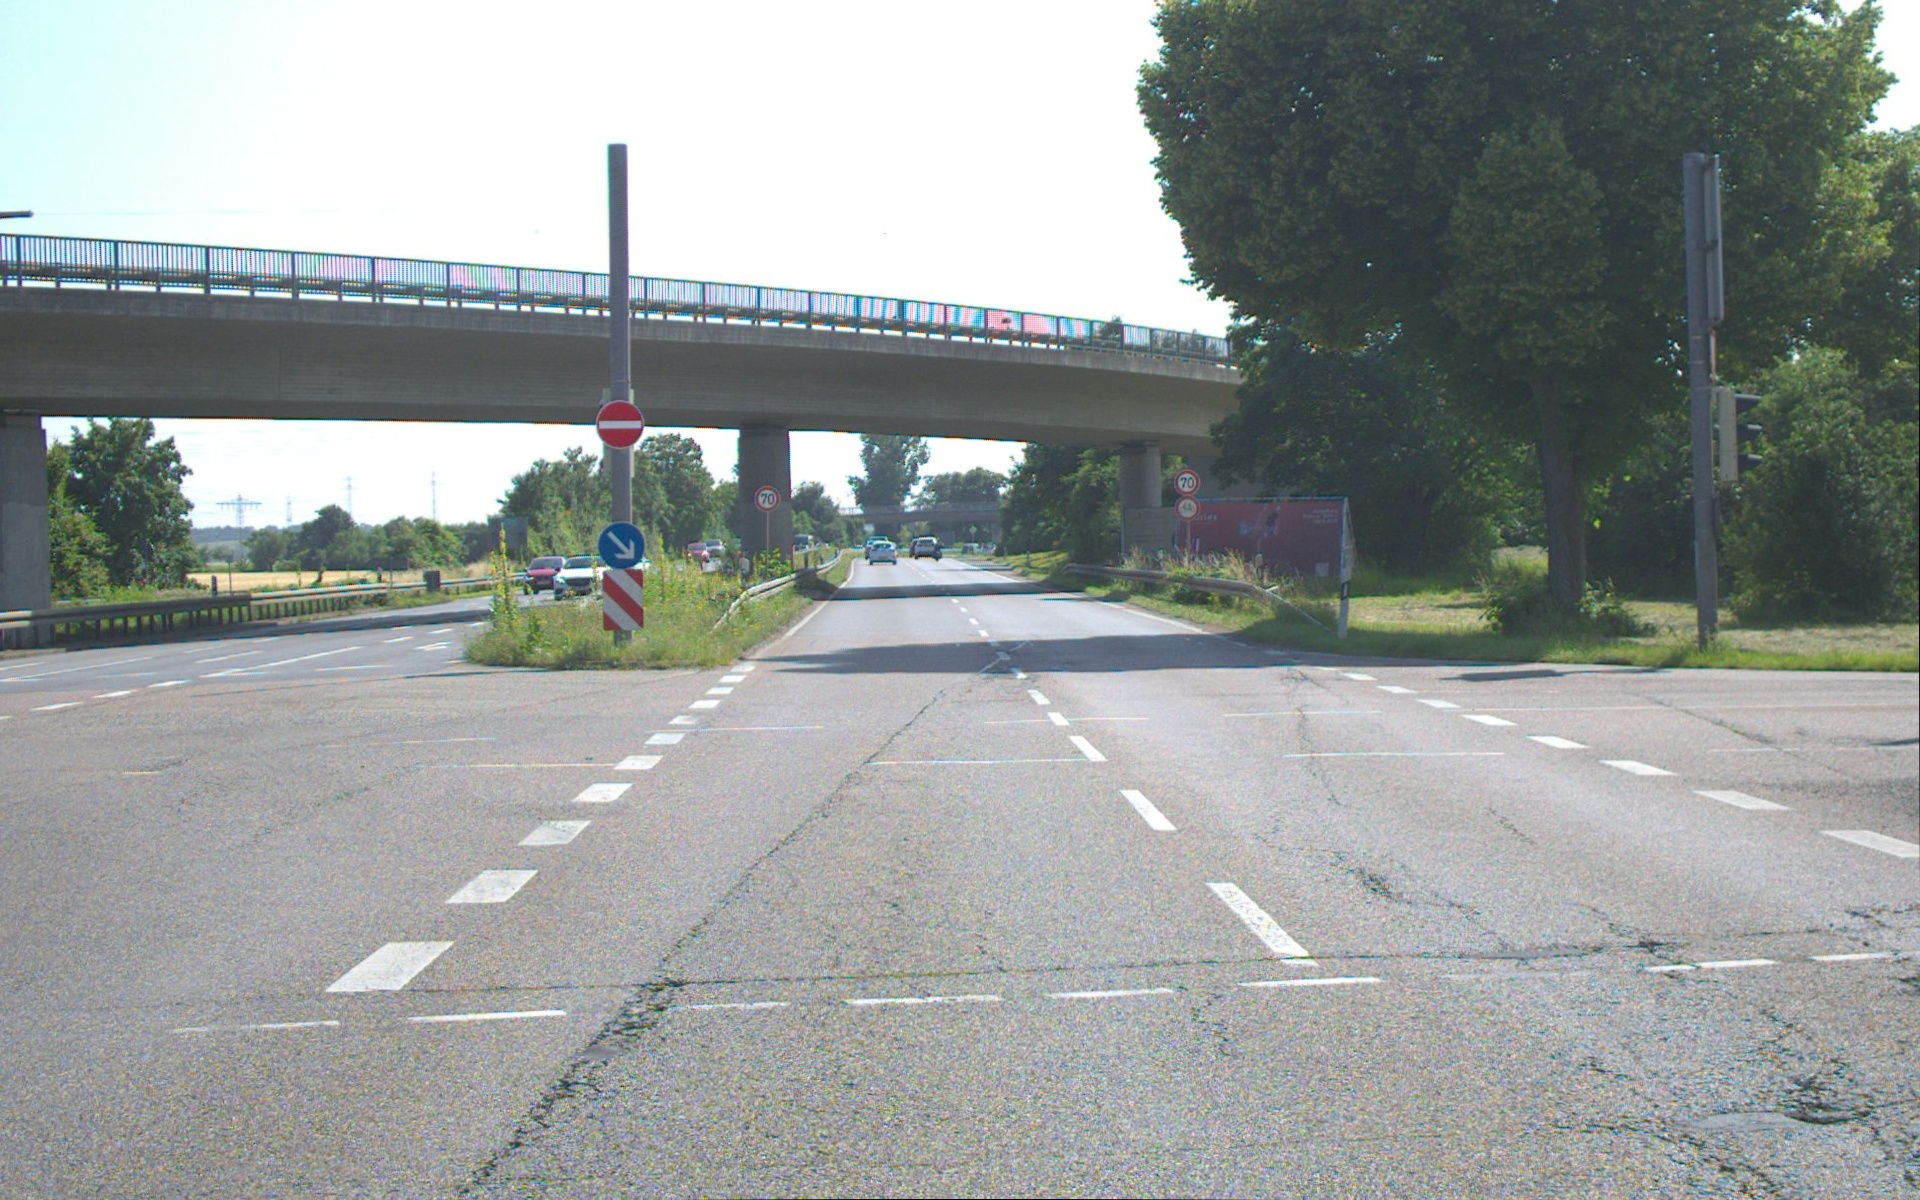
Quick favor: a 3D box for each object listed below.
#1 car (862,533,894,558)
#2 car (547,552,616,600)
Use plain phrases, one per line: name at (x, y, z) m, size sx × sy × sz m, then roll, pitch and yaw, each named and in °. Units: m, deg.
car at (-5.177, -3.475, 217.721) m, size 1.851 × 1.456 × 4.000 m, roll -3°, pitch 1°, yaw 1°
car at (-12.554, -0.811, 114.190) m, size 1.856 × 1.443 × 4.241 m, roll -3°, pitch 1°, yaw -1°
